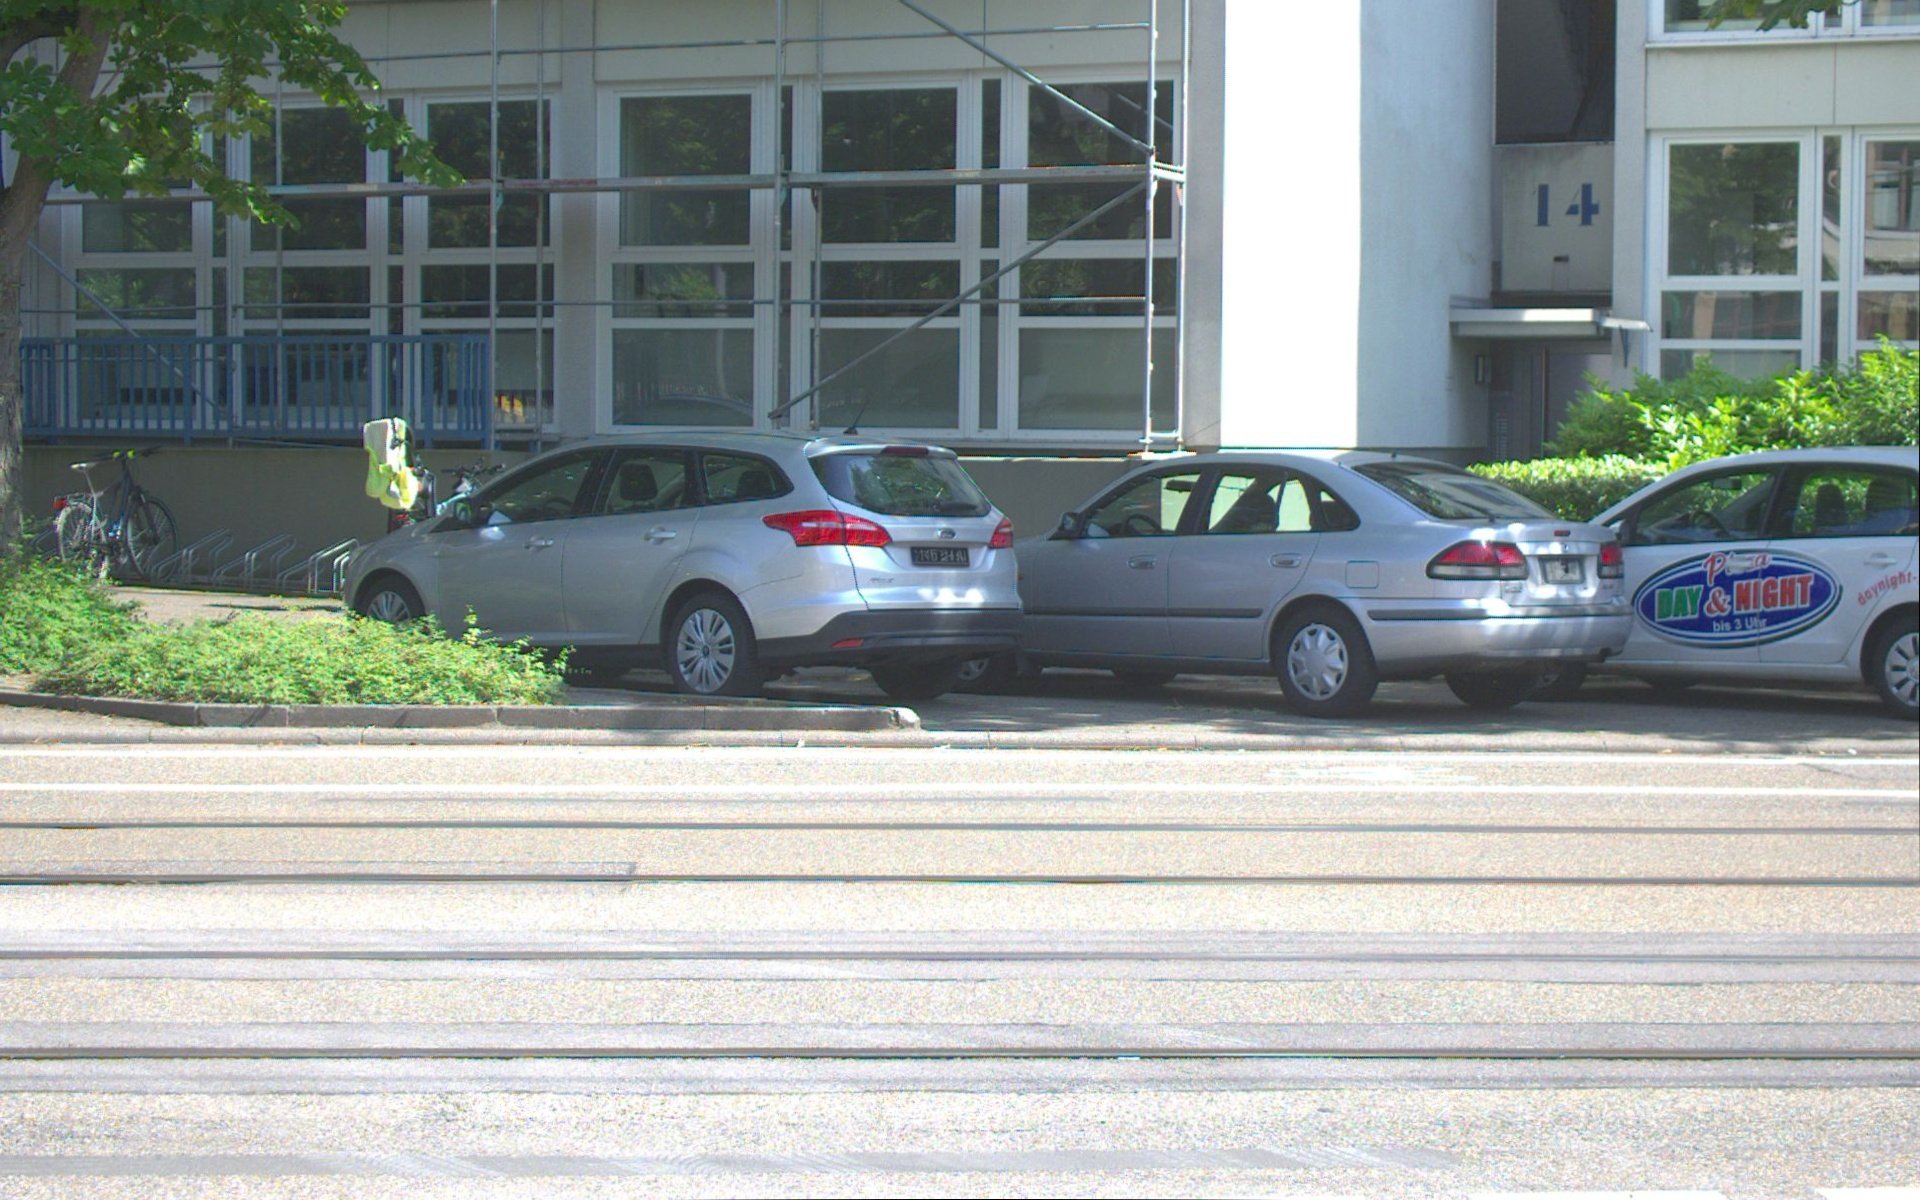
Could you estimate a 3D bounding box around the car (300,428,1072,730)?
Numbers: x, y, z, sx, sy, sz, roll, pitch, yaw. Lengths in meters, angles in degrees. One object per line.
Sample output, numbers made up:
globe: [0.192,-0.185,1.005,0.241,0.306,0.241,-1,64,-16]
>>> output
car: [-1.644,-0.203,19.432,4.432,1.481,1.780,3,4,42]

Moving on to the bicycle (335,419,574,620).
bicycle: [-3.784,-0.626,25.890,0.662,1.448,2.087,2,3,28]

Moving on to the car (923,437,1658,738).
car: [1.768,-0.149,19.303,3.943,1.481,1.609,3,4,44]

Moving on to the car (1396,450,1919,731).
car: [4.579,-0.107,19.670,3.942,1.481,1.609,2,3,43]

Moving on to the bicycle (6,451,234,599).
bicycle: [-6.488,-0.604,26.670,0.741,1.082,2.202,1,3,15]
